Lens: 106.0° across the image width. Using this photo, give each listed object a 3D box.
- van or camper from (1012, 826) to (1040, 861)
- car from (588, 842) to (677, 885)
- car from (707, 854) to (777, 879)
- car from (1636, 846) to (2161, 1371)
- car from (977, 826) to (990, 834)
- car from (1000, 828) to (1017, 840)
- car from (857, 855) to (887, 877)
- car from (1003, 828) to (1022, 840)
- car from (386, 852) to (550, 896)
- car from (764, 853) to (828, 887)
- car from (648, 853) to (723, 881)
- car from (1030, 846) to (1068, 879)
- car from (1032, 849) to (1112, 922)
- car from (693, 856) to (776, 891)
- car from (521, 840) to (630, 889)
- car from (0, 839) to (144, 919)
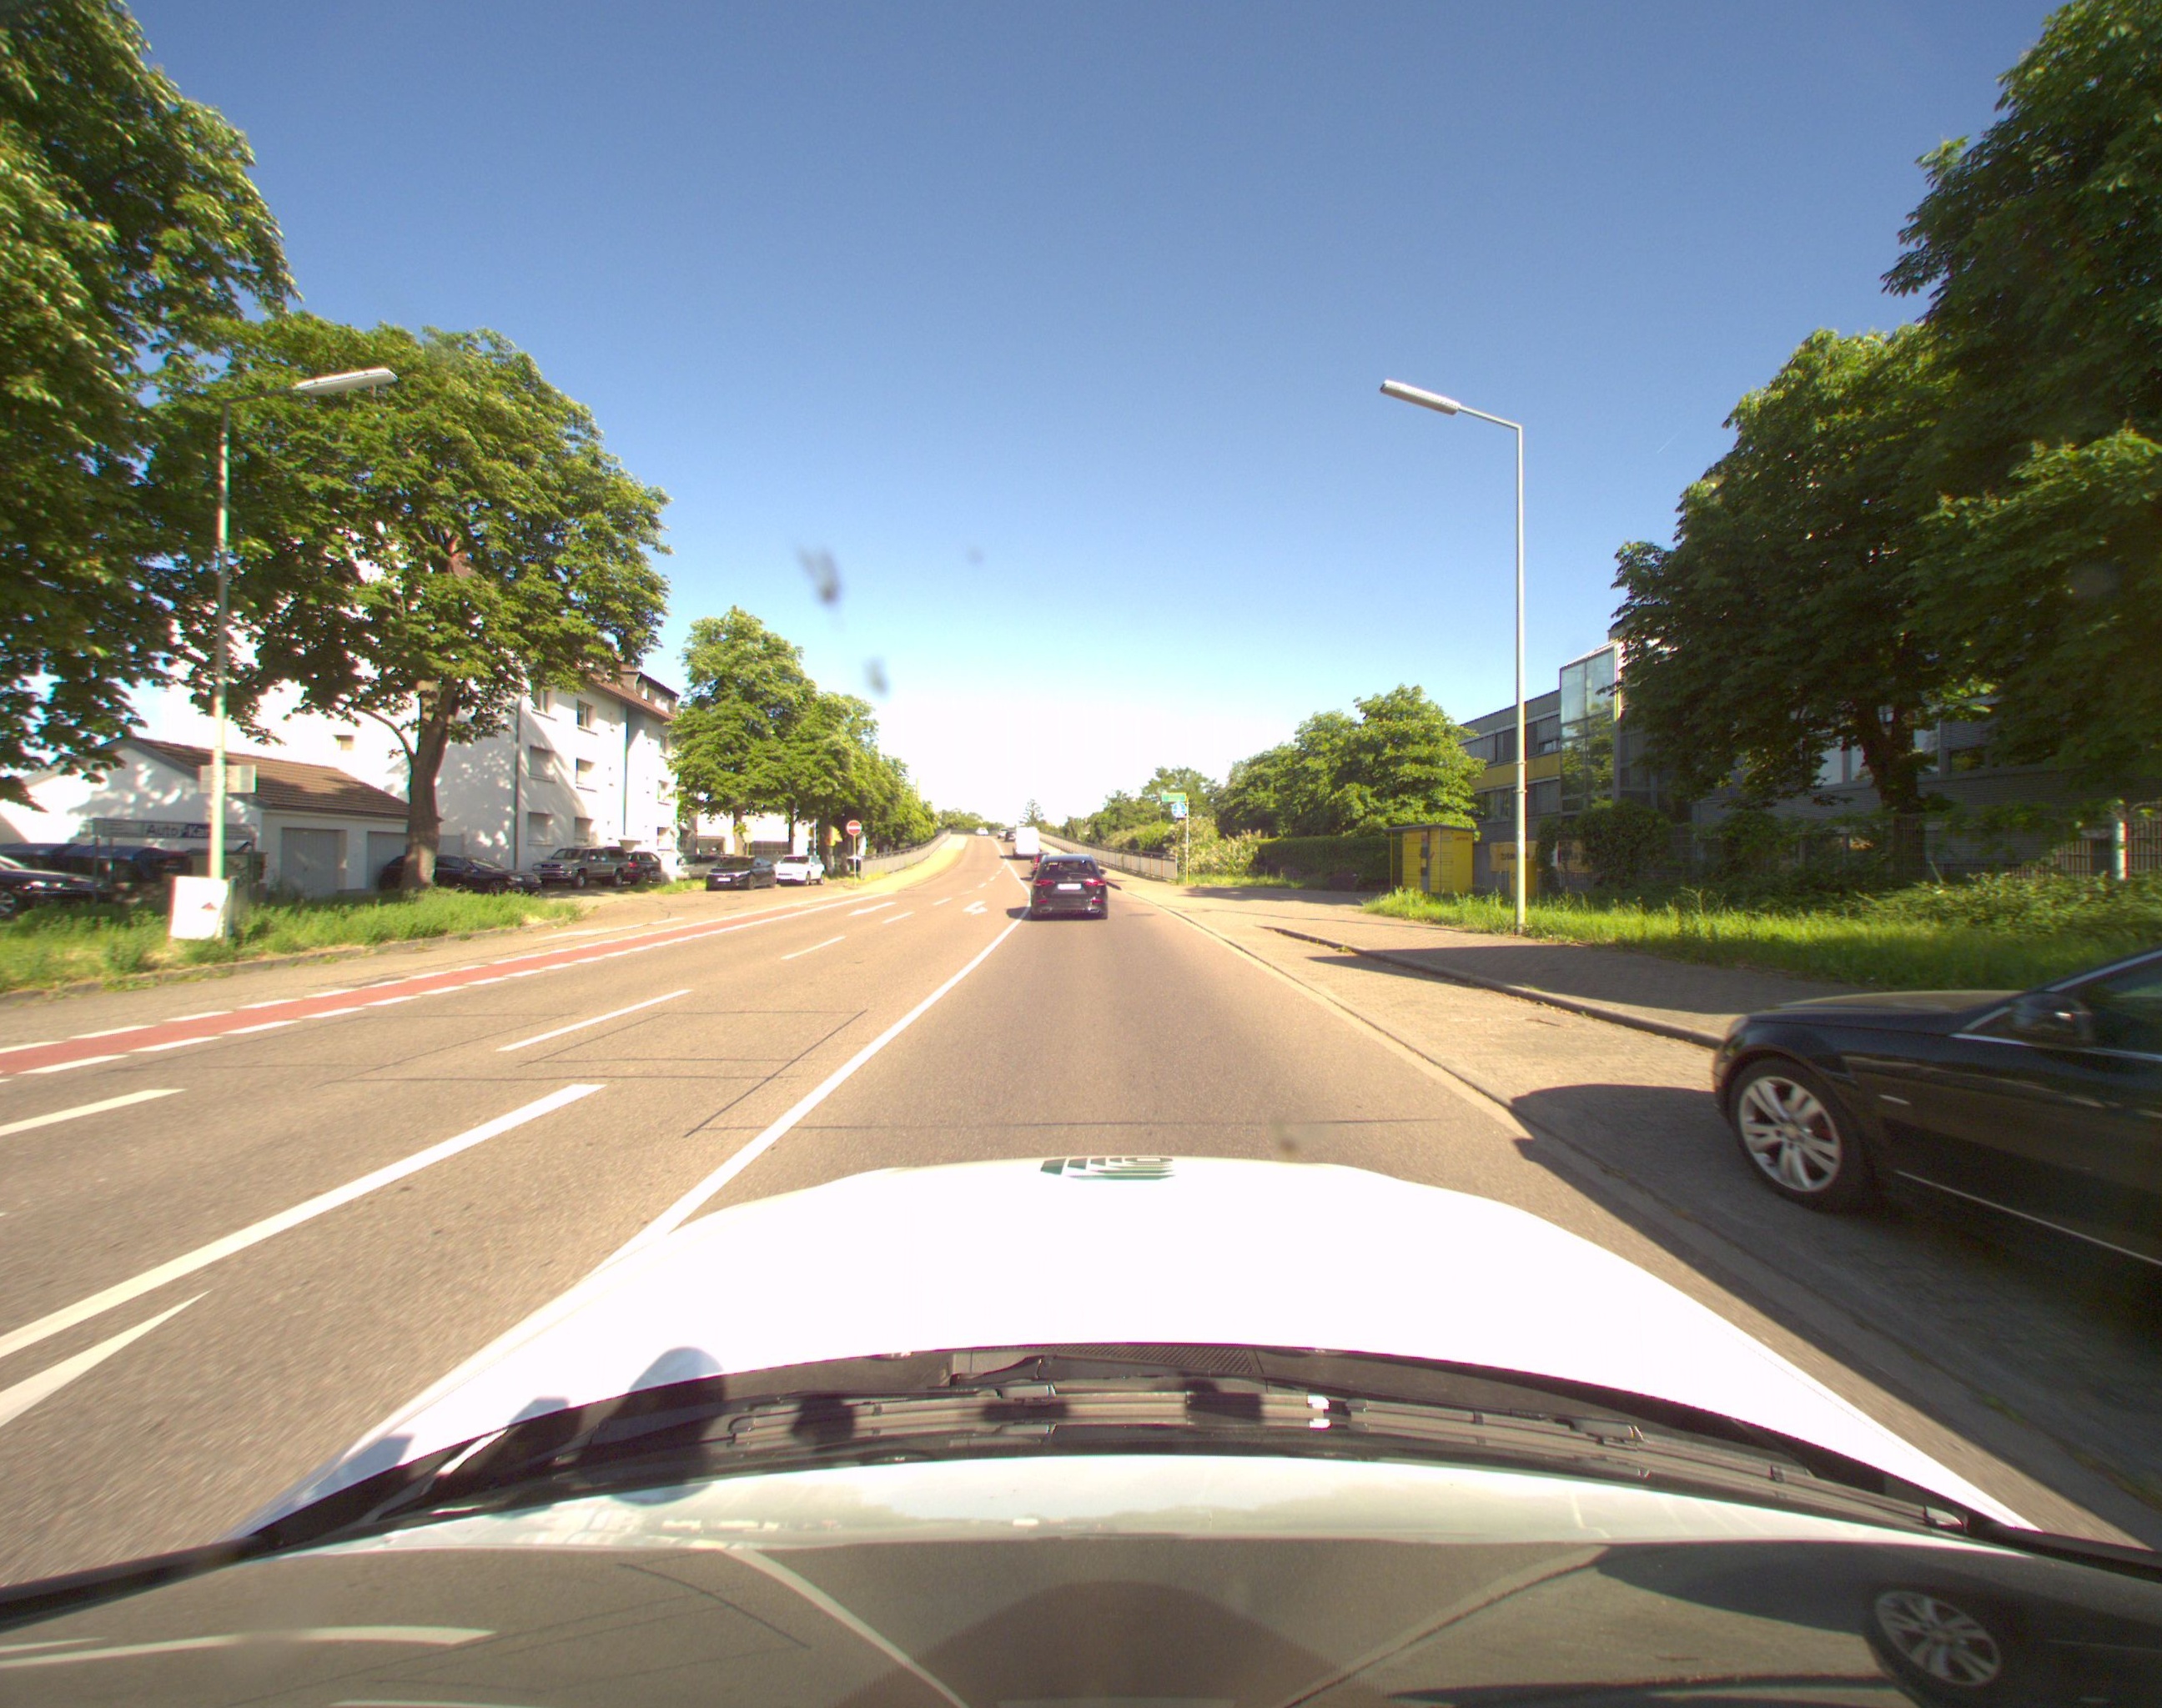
[{"bbox_3d":[-4.635,-0.880,69.098,2.222,2.739,7.071,0,0,-4],"label":"van or camper"},{"bbox_3d":[-21.767,0.452,39.772,2.066,1.930,4.778,1,0,-5],"label":"car"},{"bbox_3d":[-22.640,0.850,54.544,4.003,1.584,1.890,1,0,-13],"label":"car"},{"bbox_3d":[3.819,0.686,2.097,1.802,1.419,4.424,0,0,0],"label":"car"},{"bbox_3d":[-18.245,-4.485,152.222,1.880,1.543,3.979,0,0,-15],"label":"car"},{"bbox_3d":[-11.150,-3.066,125.121,1.985,1.680,4.004,-1,-1,4],"label":"car"},{"bbox_3d":[-20.470,1.142,79.880,1.918,1.991,4.254,0,0,-2],"label":"car"},{"bbox_3d":[-9.137,-2.665,108.706,1.909,1.488,4.275,-1,-1,4],"label":"car"},{"bbox_3d":[-20.859,0.685,27.894,3.986,1.429,1.902,0,-1,-10],"label":"car"},{"bbox_3d":[-15.616,0.823,44.927,2.034,1.729,5.227,1,0,-5],"label":"car"},{"bbox_3d":[-22.353,0.730,46.034,3.682,1.510,1.767,0,0,-32],"label":"car"},{"bbox_3d":[-1.721,0.447,42.612,1.802,1.640,3.992,0,-1,-6],"label":"car"},{"bbox_3d":[-0.254,0.712,20.006,1.765,1.592,3.986,0,0,-2],"label":"car"},{"bbox_3d":[-15.461,0.820,36.654,2.034,1.464,4.952,0,0,-5],"label":"car"},{"bbox_3d":[-21.380,0.414,34.709,1.744,1.930,5.095,0,0,-4],"label":"car"},{"bbox_3d":[-22.663,0.482,16.533,4.412,1.575,1.801,0,0,-22],"label":"car"}]
